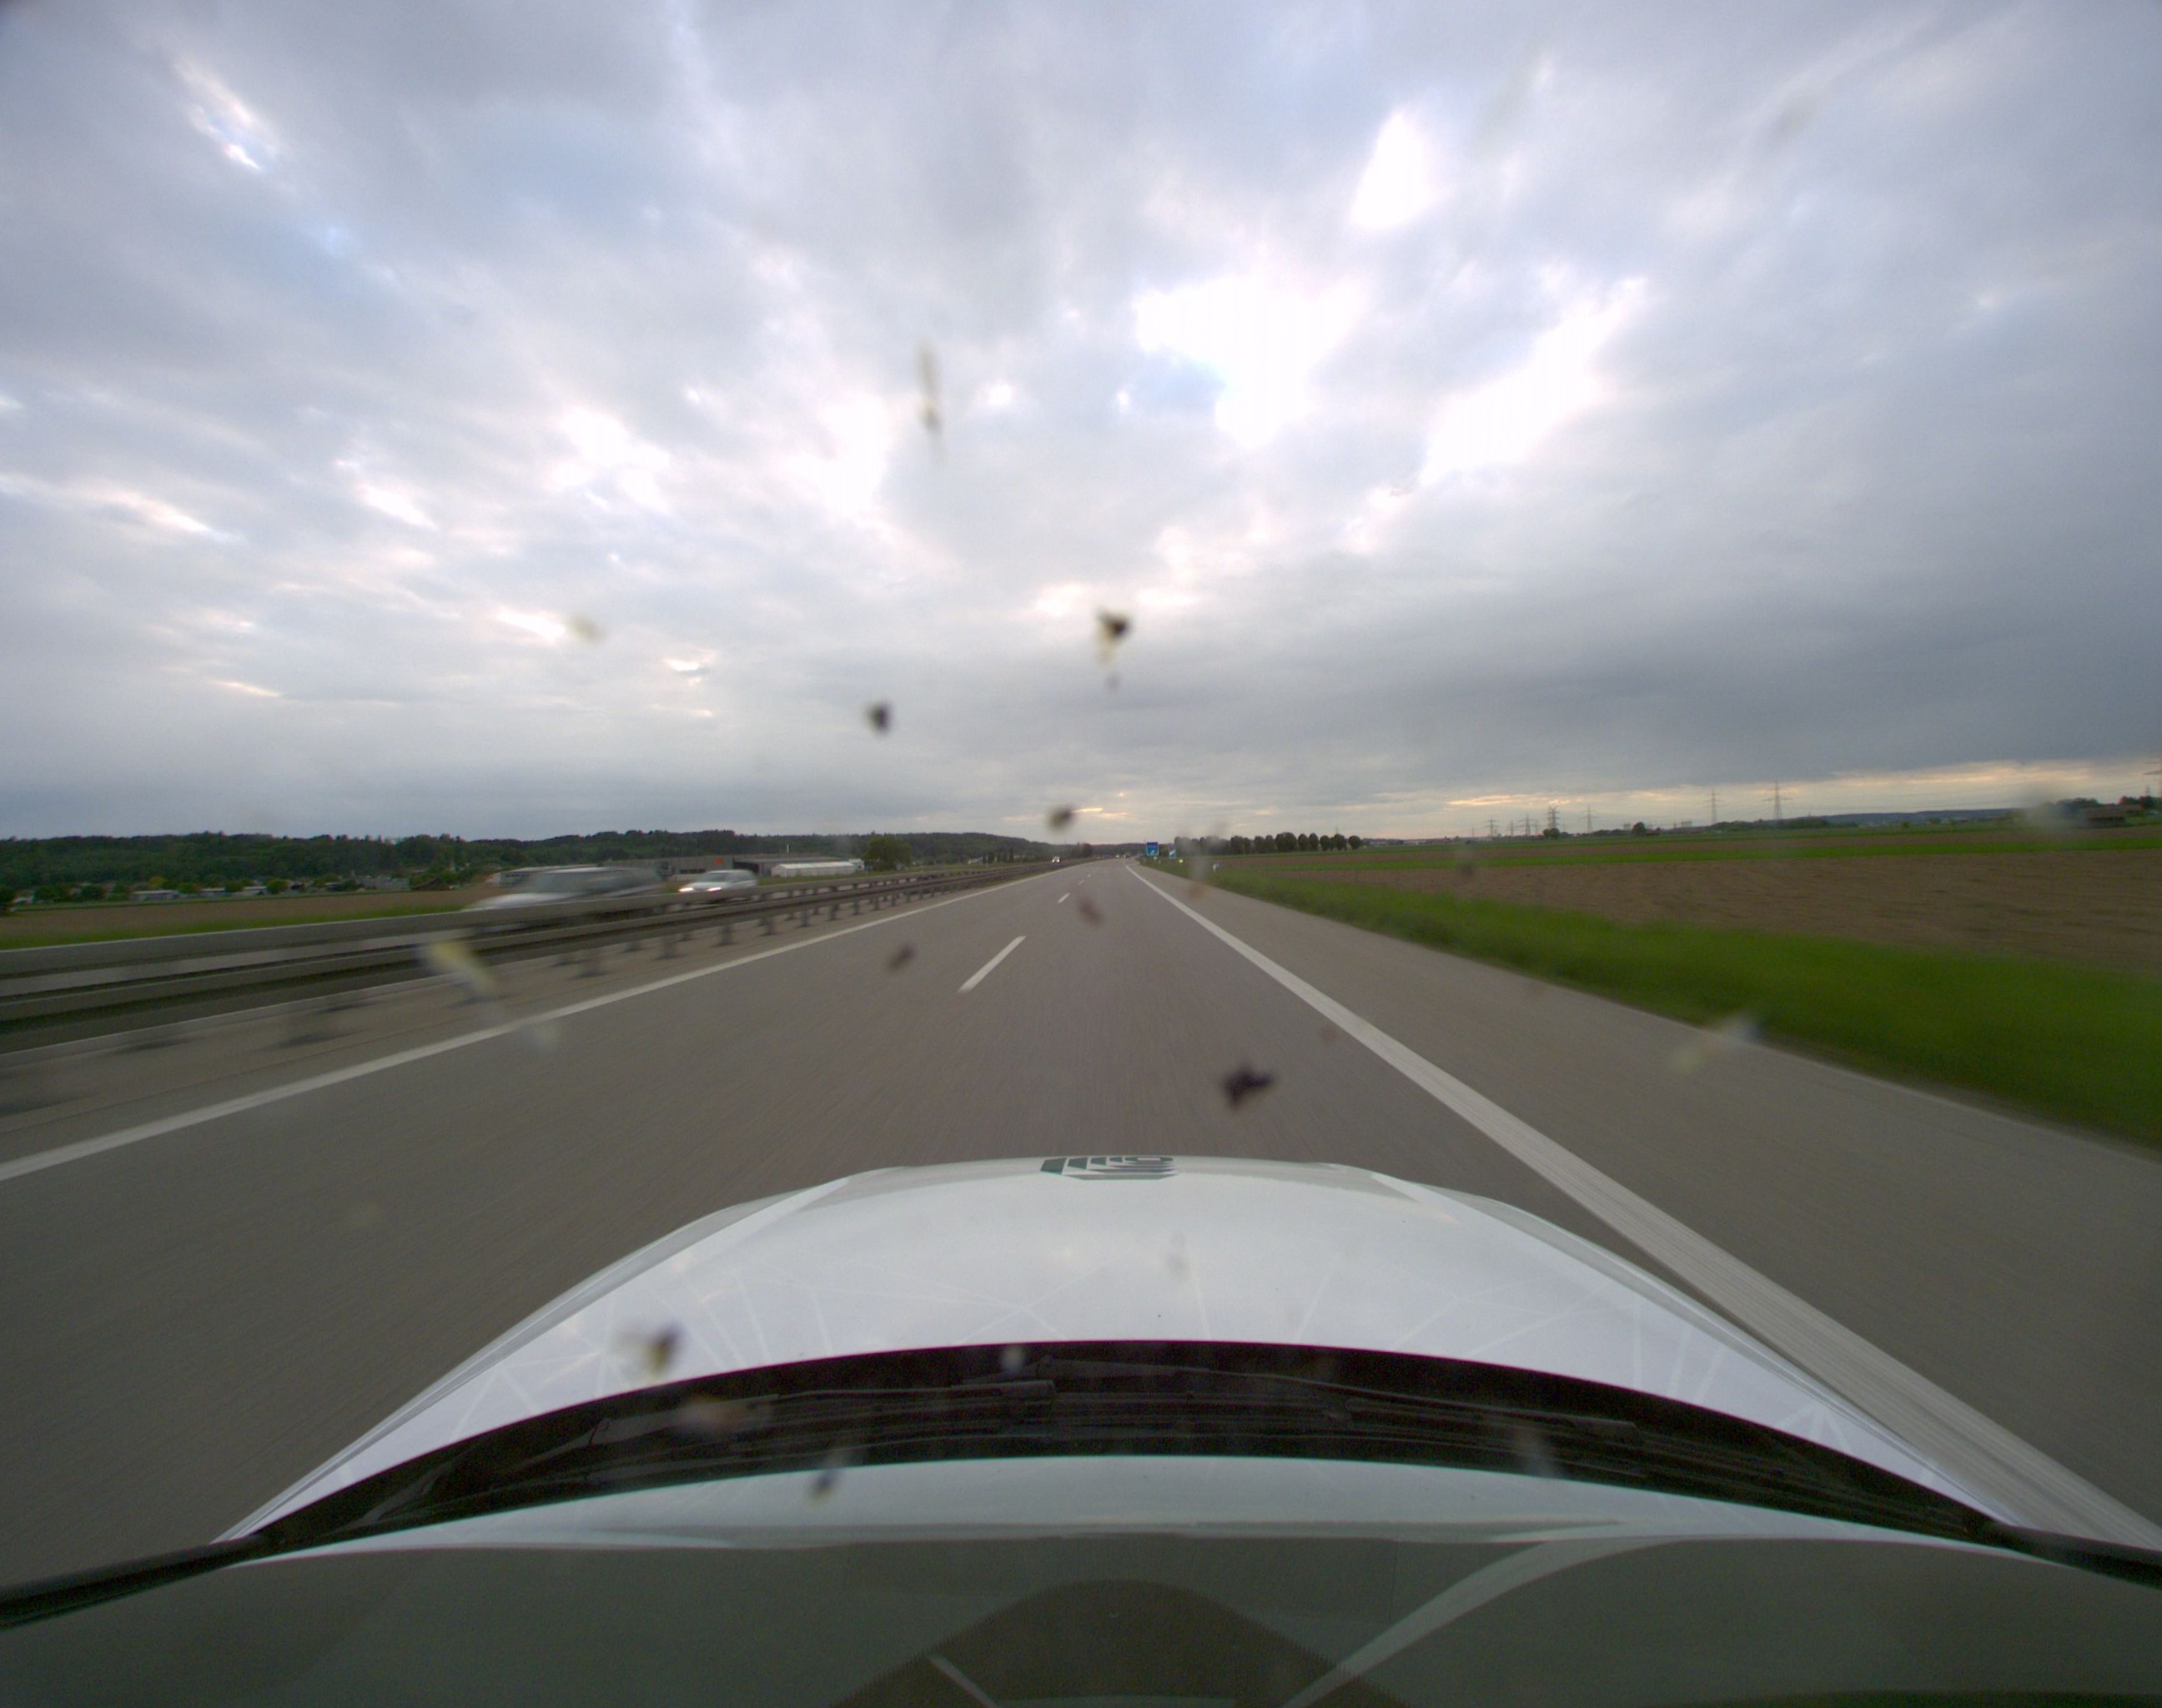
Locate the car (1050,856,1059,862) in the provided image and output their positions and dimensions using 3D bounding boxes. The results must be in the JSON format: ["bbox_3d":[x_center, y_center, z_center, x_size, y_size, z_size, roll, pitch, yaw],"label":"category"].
[{"bbox_3d":[-7.458,1.448,229.580,1.986,1.765,4.954,0,0,2],"label":"car"}]

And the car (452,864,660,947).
[{"bbox_3d":[-12.046,1.099,19.117,1.986,1.701,4.303,0,0,2],"label":"car"}]

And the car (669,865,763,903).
[{"bbox_3d":[-16.307,1.287,36.703,1.986,1.496,4.763,-1,0,1],"label":"car"}]
